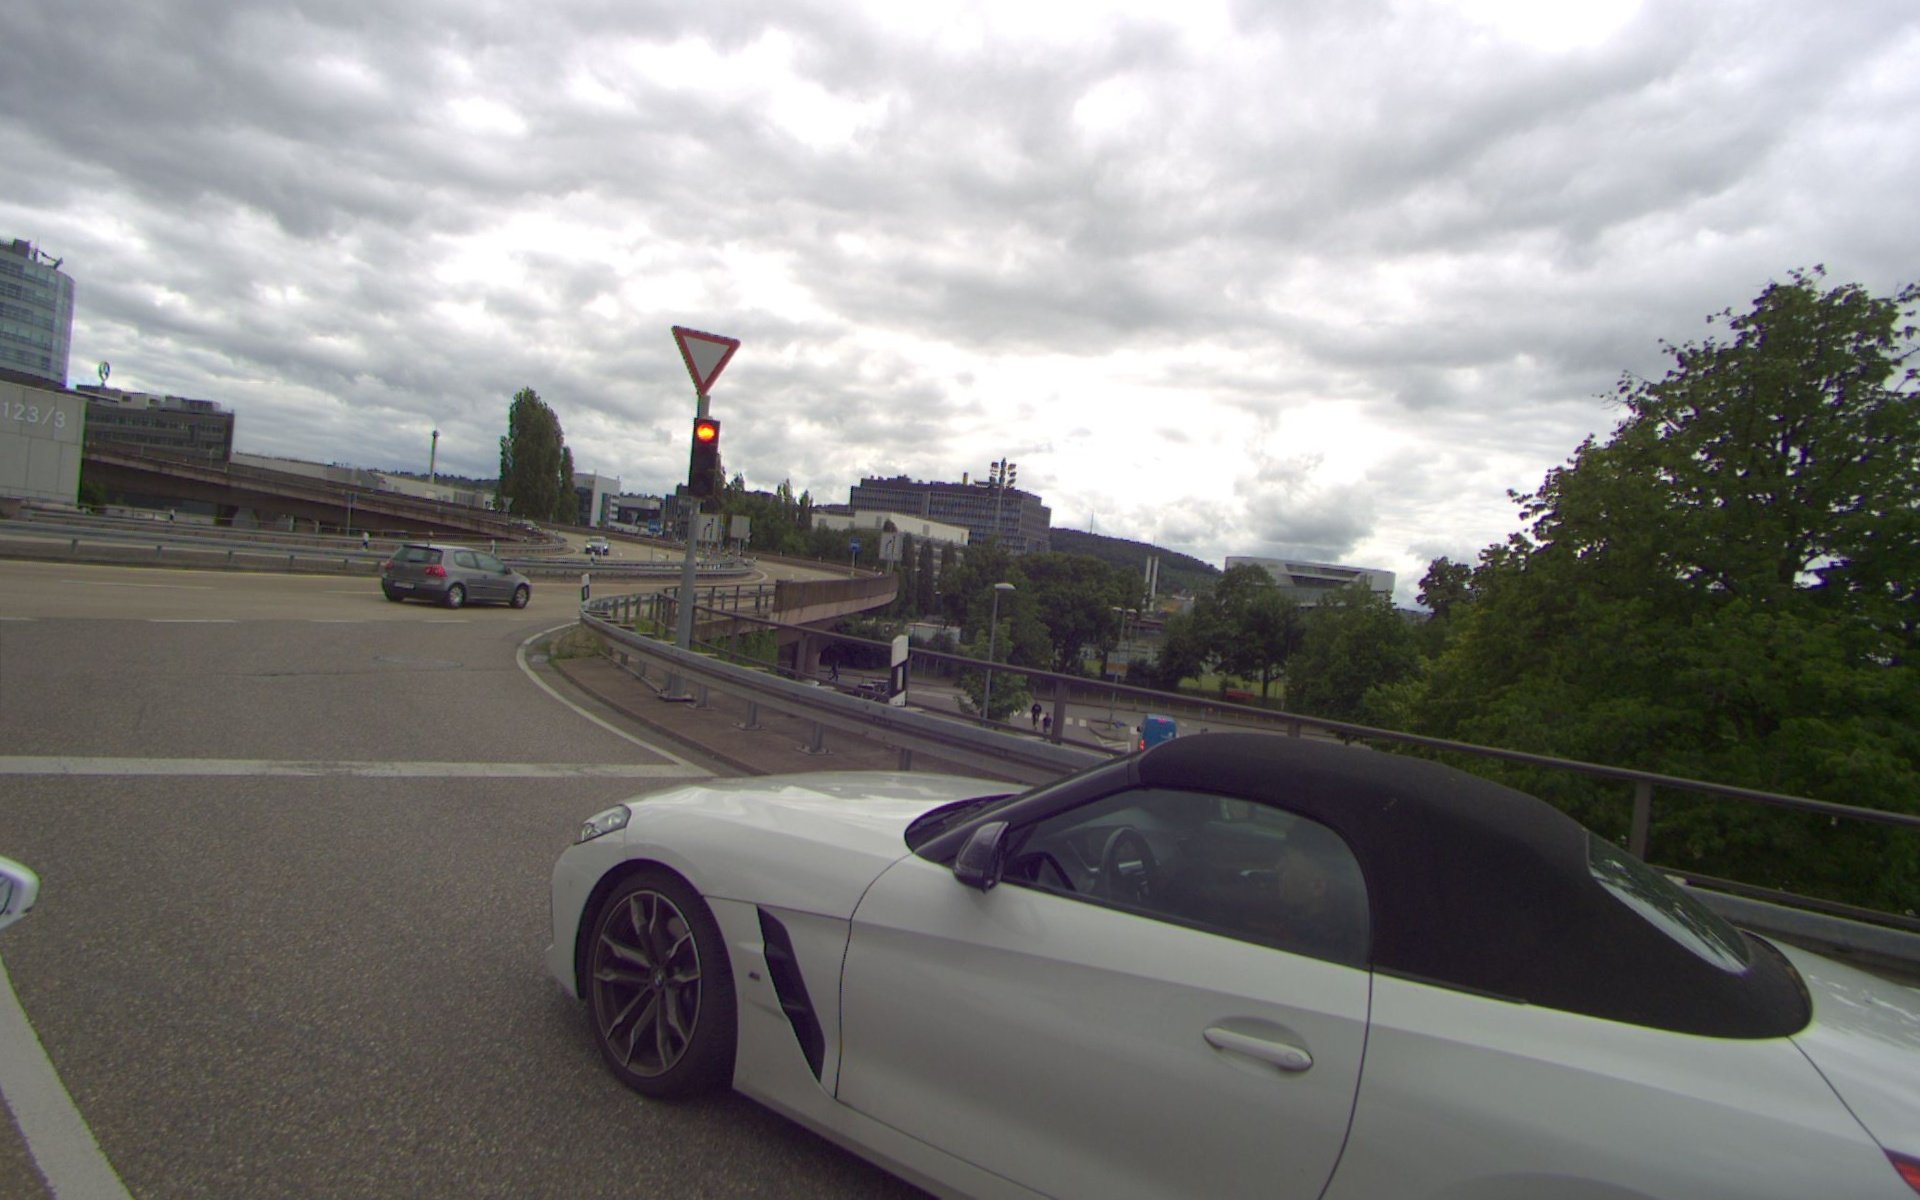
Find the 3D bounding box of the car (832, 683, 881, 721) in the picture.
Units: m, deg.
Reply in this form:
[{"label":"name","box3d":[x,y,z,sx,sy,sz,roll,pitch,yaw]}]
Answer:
[{"label":"car","box3d":[-5.810,5.746,56.941,1.792,1.553,4.000,8,0,6]}]

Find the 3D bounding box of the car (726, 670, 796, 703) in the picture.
[{"label":"car","box3d":[-12.234,5.301,62.008,3.792,1.371,1.826,8,1,1]}]

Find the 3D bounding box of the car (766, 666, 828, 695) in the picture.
[{"label":"car","box3d":[-11.206,5.527,69.242,3.792,1.371,1.826,8,1,1]}]

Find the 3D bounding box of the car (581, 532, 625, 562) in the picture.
[{"label":"car","box3d":[-30.252,-4.451,85.424,1.881,1.679,4.752,9,-4,-1]}]

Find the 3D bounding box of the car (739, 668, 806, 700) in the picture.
[{"label":"car","box3d":[-11.947,5.371,64.347,3.792,1.371,1.826,8,1,1]}]

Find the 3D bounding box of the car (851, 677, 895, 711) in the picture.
[{"label":"car","box3d":[-5.346,5.804,62.577,1.792,1.553,4.195,8,0,6]}]

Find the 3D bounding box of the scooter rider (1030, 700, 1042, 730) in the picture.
[{"label":"scooter rider","box3d":[4.822,7.277,63.530,0.482,1.761,0.513,8,2,0]}]

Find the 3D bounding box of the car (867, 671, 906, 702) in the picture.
[{"label":"car","box3d":[-5.013,5.893,68.712,1.792,1.553,4.000,8,0,6]}]

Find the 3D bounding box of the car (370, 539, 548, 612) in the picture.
[{"label":"car","box3d":[-12.293,-0.567,25.015,1.697,1.480,4.243,7,1,10]}]

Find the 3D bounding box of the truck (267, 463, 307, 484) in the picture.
[{"label":"truck","box3d":[-106.166,-19.922,158.809,1.968,2.194,4.599,7,-4,34]}]

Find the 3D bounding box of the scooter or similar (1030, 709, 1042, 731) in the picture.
[{"label":"scooter or similar","box3d":[4.790,7.565,63.568,0.482,1.199,1.072,8,1,0]}]

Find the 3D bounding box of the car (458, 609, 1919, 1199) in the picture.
[{"label":"car","box3d":[0.562,0.980,3.062,4.195,1.306,1.808,7,-2,34]}]

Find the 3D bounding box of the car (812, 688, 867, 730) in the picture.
[{"label":"car","box3d":[-6.208,5.616,52.165,1.792,1.553,4.000,8,0,6]}]

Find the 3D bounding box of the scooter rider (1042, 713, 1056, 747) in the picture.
[{"label":"scooter rider","box3d":[5.051,7.382,57.144,0.481,1.776,0.548,8,2,11]}]

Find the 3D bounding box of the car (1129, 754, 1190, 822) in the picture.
[{"label":"car","box3d":[8.200,7.596,41.039,1.978,1.883,4.868,10,-2,14]}]

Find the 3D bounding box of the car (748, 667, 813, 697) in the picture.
[{"label":"car","box3d":[-11.819,5.409,66.465,3.792,1.371,1.826,8,1,1]}]

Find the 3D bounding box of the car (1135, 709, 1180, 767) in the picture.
[{"label":"car","box3d":[11.236,7.776,57.236,1.978,2.617,5.399,10,-2,12]}]

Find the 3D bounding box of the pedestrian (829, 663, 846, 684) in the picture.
[{"label":"pedestrian","box3d":[-9.438,5.662,77.452,0.898,1.514,0.750,8,-3,7]}]

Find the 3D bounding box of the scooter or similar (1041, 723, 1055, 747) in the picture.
[{"label":"scooter or similar","box3d":[5.002,7.667,57.173,0.481,1.199,1.073,8,1,11]}]
